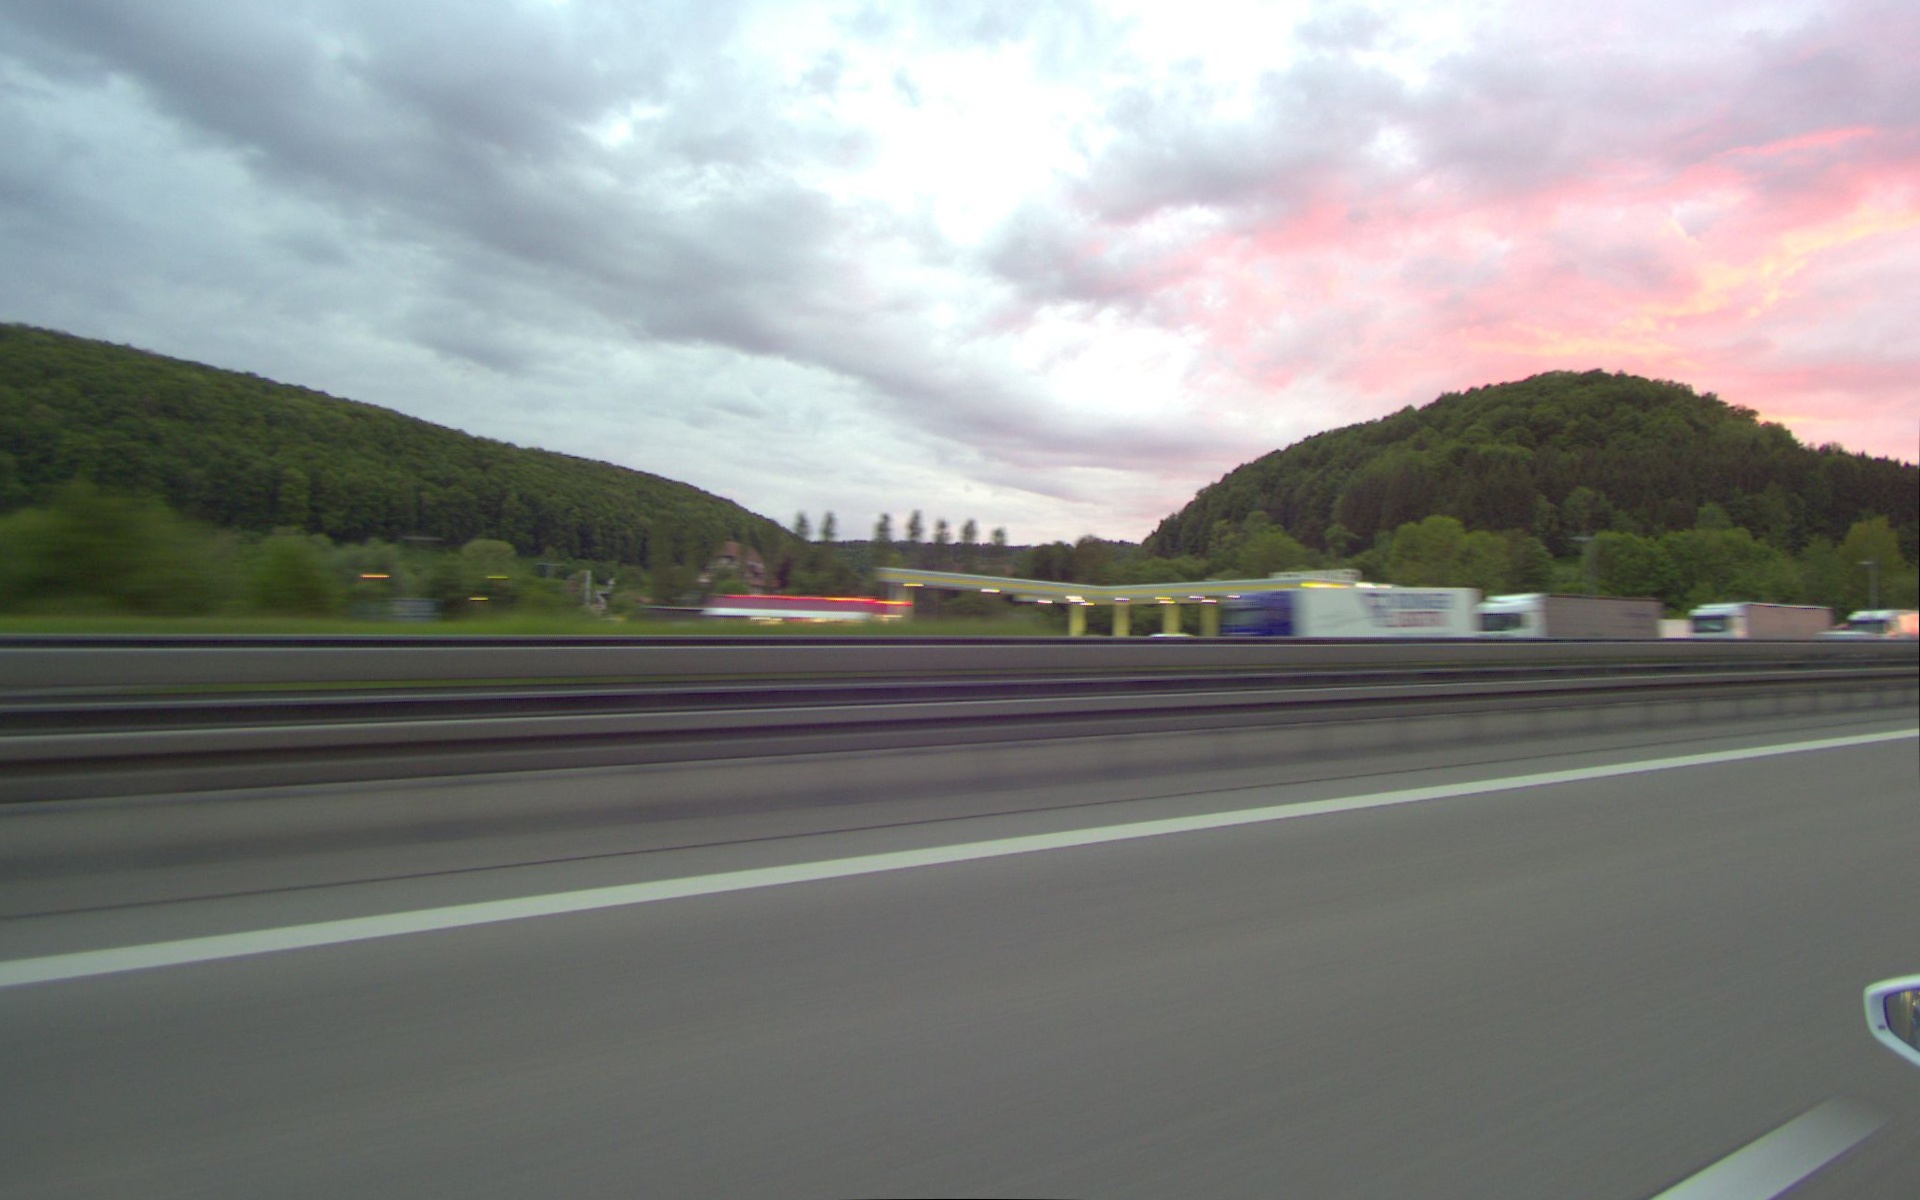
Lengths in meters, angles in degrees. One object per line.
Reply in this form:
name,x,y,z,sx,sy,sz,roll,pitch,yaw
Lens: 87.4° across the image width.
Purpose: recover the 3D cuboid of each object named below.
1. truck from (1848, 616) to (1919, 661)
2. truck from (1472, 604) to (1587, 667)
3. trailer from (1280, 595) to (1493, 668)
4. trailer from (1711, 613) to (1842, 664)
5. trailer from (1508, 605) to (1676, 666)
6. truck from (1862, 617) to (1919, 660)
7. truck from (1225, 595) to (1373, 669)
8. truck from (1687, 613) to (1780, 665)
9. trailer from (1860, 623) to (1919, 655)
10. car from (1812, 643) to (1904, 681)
truck,75.754,3.133,82.355,6.657,3.470,2.855,1,0,-34
truck,33.298,2.027,58.659,6.646,3.470,2.860,1,0,-30
trailer,22.500,1.627,52.462,13.063,3.470,2.861,1,0,-29
trailer,60.701,2.827,74.459,13.686,3.470,2.860,1,0,-30
trailer,39.248,2.168,62.083,13.408,3.470,2.860,1,0,-30
truck,81.538,3.244,86.388,13.651,3.470,2.855,1,0,-35
truck,16.616,1.528,49.139,7.087,3.421,2.861,1,0,-29
truck,54.658,2.716,70.977,6.645,3.470,2.860,1,0,-30
trailer,115.878,4.756,120.456,13.079,3.728,3.071,1,0,0
car,42.876,2.911,47.948,4.686,1.615,1.983,1,0,-31
